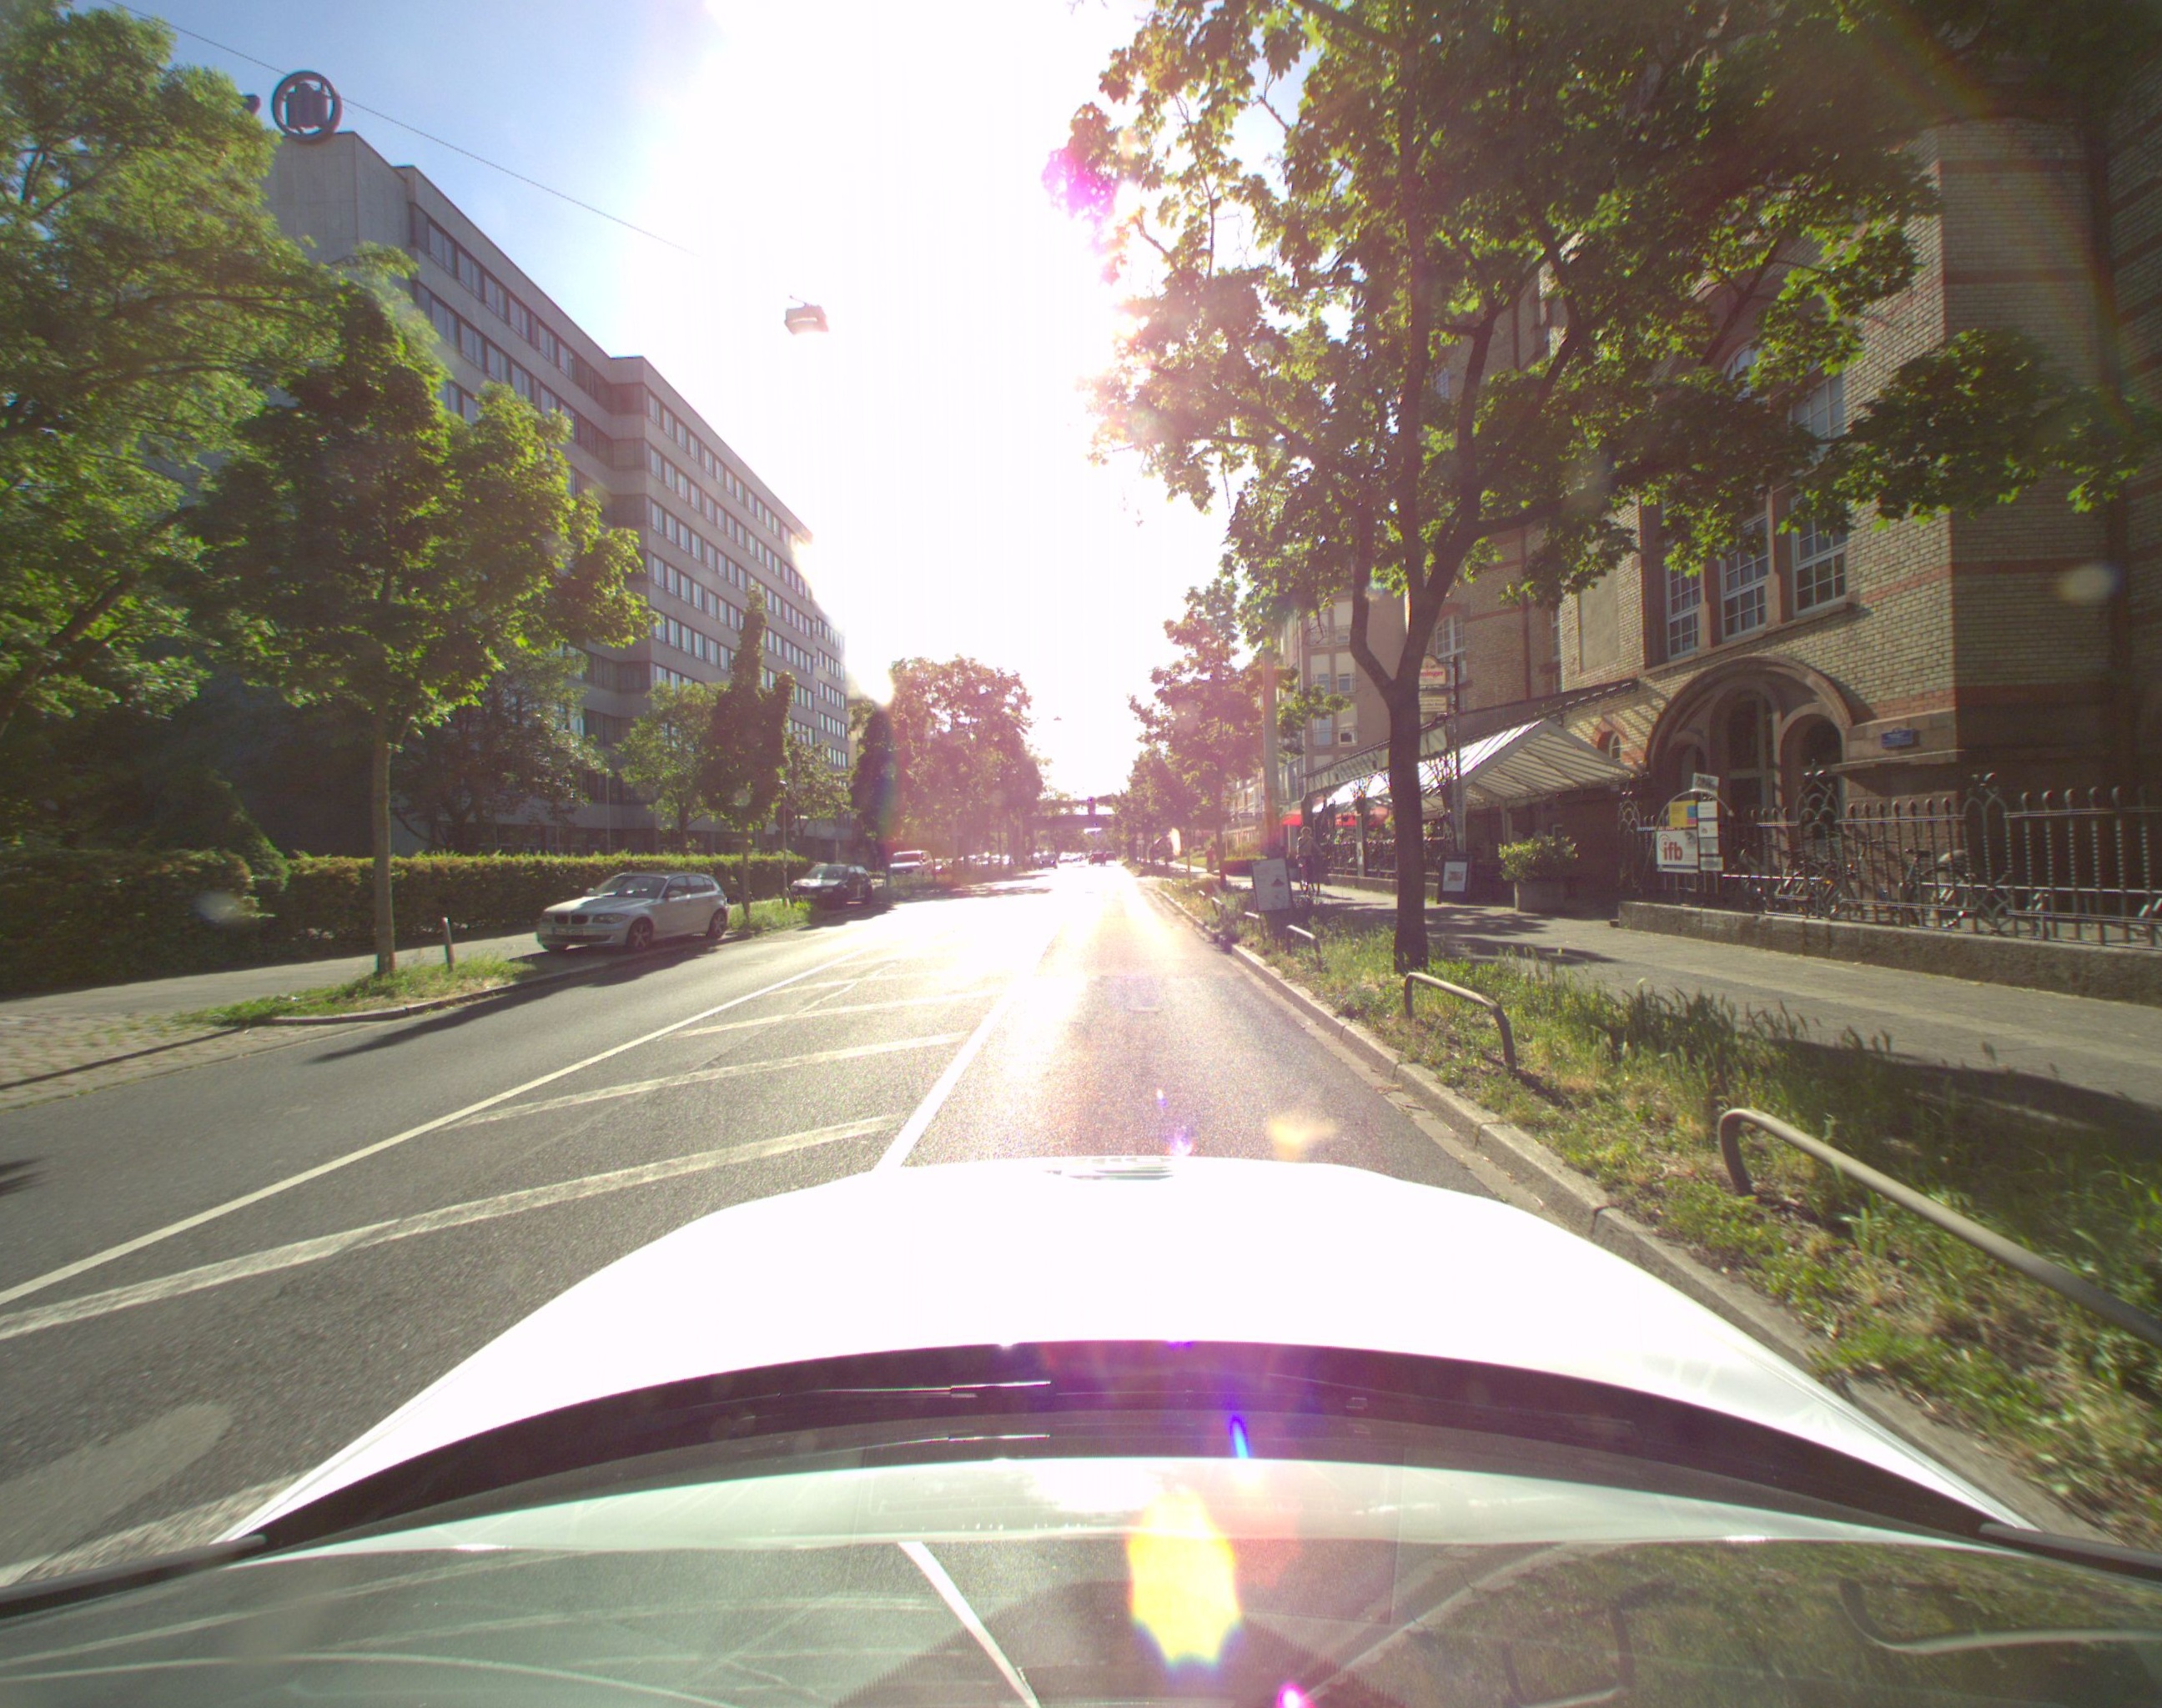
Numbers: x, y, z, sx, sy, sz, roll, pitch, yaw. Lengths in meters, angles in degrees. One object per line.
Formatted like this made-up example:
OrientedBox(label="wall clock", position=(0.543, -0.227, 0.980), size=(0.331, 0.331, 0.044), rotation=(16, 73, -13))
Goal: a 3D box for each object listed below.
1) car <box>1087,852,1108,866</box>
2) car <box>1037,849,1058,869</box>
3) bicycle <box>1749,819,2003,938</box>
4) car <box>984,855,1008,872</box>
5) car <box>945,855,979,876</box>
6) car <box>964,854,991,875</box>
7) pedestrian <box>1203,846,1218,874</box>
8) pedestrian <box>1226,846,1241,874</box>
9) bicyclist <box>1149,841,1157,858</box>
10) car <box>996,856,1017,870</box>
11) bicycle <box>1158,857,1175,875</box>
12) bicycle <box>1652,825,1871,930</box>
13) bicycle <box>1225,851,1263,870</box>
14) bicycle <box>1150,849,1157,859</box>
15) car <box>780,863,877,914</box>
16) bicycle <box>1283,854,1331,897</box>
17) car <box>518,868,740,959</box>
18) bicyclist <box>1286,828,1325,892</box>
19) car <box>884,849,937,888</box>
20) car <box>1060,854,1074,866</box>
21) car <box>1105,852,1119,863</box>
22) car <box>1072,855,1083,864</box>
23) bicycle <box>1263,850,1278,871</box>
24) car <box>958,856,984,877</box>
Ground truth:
OrientedBox(label="car", position=(2.002, 0.611, 99.891), size=(1.982, 1.600, 4.132), rotation=(-2, 0, -6))
OrientedBox(label="car", position=(-3.475, 0.489, 84.282), size=(1.849, 1.825, 4.610), rotation=(-4, 0, 0))
OrientedBox(label="bicycle", position=(8.647, 0.255, 8.899), size=(2.192, 1.178, 0.686), rotation=(-2, -1, -5))
OrientedBox(label="car", position=(-8.725, 0.961, 83.533), size=(1.848, 1.568, 3.874), rotation=(-1, 0, 2))
OrientedBox(label="car", position=(-9.332, 0.861, 64.387), size=(1.848, 1.523, 4.067), rotation=(-1, 0, 3))
OrientedBox(label="car", position=(-9.543, 0.911, 75.523), size=(1.849, 1.850, 4.562), rotation=(-1, 0, 1))
OrientedBox(label="pedestrian", position=(7.850, 0.364, 49.235), size=(0.652, 1.604, 0.602), rotation=(-5, -1, -4))
OrientedBox(label="pedestrian", position=(9.285, 0.359, 49.522), size=(0.652, 1.604, 0.602), rotation=(-5, -1, -4))
OrientedBox(label="bicyclist", position=(7.582, -0.473, 85.720), size=(0.665, 1.695, 0.889), rotation=(-1, -1, 1))
OrientedBox(label="car", position=(-8.476, 1.004, 93.120), size=(1.849, 1.523, 4.319), rotation=(-1, 0, 1))
OrientedBox(label="bicycle", position=(5.466, 0.751, 52.018), size=(0.586, 1.066, 2.032), rotation=(-2, 0, 18))
OrientedBox(label="bicycle", position=(8.387, 0.276, 10.079), size=(2.192, 1.178, 0.686), rotation=(-2, -1, -5))
OrientedBox(label="bicycle", position=(9.971, 0.402, 49.930), size=(2.186, 1.027, 0.688), rotation=(-3, 2, 3))
OrientedBox(label="bicycle", position=(7.593, 0.038, 85.583), size=(0.587, 1.027, 1.860), rotation=(-2, -1, 1))
OrientedBox(label="car", position=(-8.265, 1.076, 27.043), size=(1.705, 1.458, 4.075), rotation=(-1, 0, 3))
OrientedBox(label="bicycle", position=(5.894, 0.549, 21.333), size=(0.683, 1.027, 2.096), rotation=(-2, -1, 1))
OrientedBox(label="car", position=(-8.477, 1.031, 15.770), size=(1.680, 1.383, 4.196), rotation=(1, 0, 4))
OrientedBox(label="bicyclist", position=(5.873, 0.162, 21.338), size=(0.698, 1.599, 0.955), rotation=(-2, -1, 1))
OrientedBox(label="car", position=(-10.050, 0.833, 48.503), size=(1.975, 2.076, 5.194), rotation=(-4, 0, -1))
OrientedBox(label="car", position=(-2.017, 0.846, 118.431), size=(1.849, 1.568, 4.716), rotation=(-4, 0, 1))
OrientedBox(label="car", position=(4.600, 0.561, 120.014), size=(1.848, 1.523, 4.322), rotation=(-1, 0, 3))
OrientedBox(label="car", position=(-0.630, 0.931, 148.881), size=(1.849, 1.439, 4.319), rotation=(-4, 0, 1))
OrientedBox(label="bicycle", position=(11.102, 0.369, 47.757), size=(0.681, 1.027, 2.210), rotation=(-3, 2, 10))
OrientedBox(label="car", position=(-9.344, 1.021, 69.603), size=(1.852, 1.684, 4.659), rotation=(-1, 0, -4))
